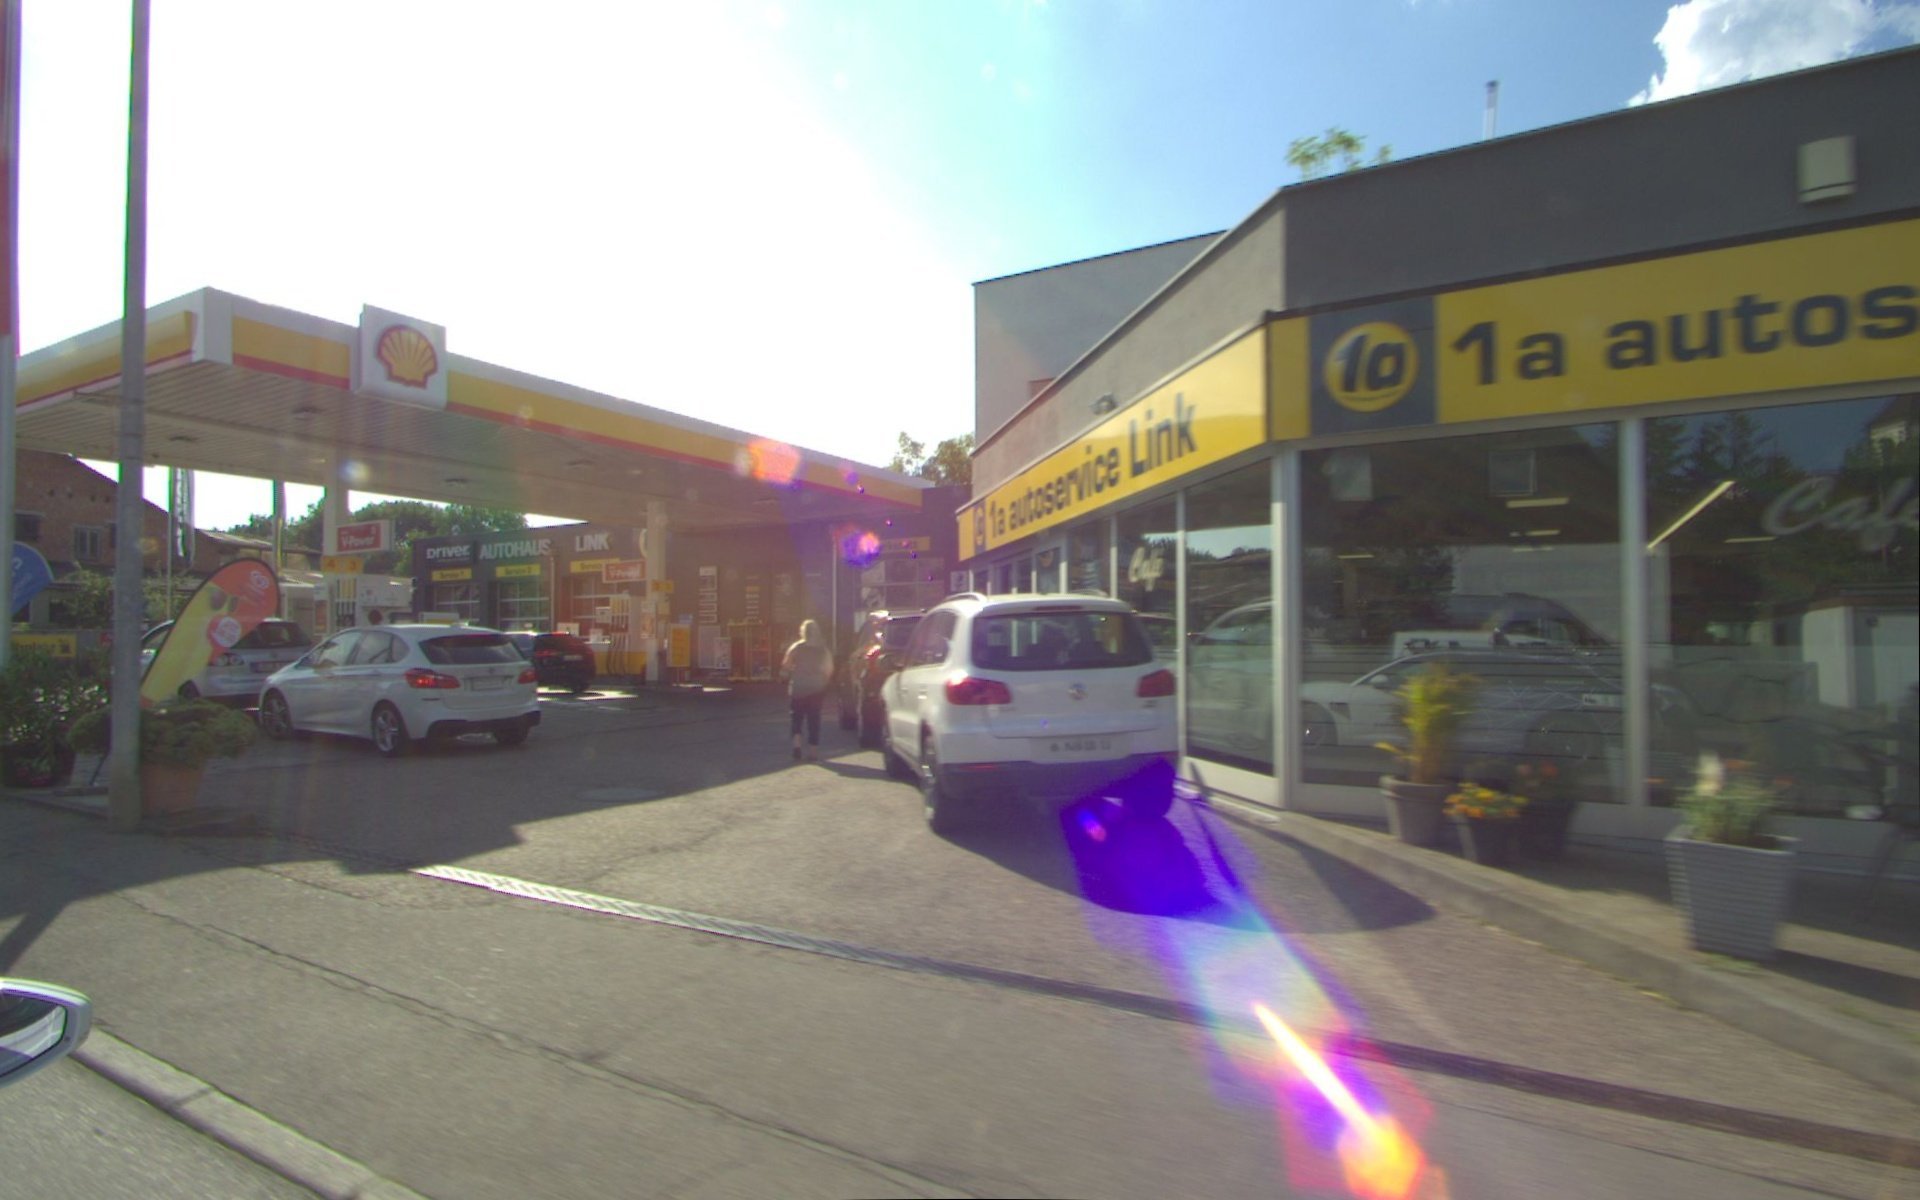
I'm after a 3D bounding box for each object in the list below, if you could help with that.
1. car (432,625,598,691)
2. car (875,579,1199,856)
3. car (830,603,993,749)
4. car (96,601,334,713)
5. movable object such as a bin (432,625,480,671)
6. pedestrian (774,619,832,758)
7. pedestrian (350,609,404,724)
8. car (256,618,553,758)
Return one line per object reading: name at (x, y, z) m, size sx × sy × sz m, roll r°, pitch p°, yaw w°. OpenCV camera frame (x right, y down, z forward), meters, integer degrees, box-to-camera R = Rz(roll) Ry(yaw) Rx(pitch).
car at (-10.364, 1.362, 23.257) m, size 3.941 × 1.417 × 1.535 m, roll -3°, pitch -3°, yaw 31°
car at (0.345, 0.762, 8.356) m, size 1.646 × 1.696 × 4.075 m, roll -1°, pitch -1°, yaw -11°
car at (-0.789, 0.939, 13.421) m, size 1.646 × 1.654 × 3.686 m, roll -1°, pitch -2°, yaw -11°
car at (-11.910, 0.859, 15.955) m, size 3.940 × 1.597 × 1.670 m, roll -1°, pitch -2°, yaw 31°
movable object such as a bin at (-17.586, 1.669, 34.961) m, size 1.191 × 1.549 × 0.987 m, roll -1°, pitch -2°, yaw 30°
pedestrian at (-1.742, 0.968, 11.078) m, size 0.614 × 1.498 × 0.430 m, roll 0°, pitch -1°, yaw -12°
pedestrian at (-8.818, 1.001, 15.155) m, size 0.526 × 1.691 × 0.500 m, roll -1°, pitch -2°, yaw 31°
car at (-7.355, 1.057, 13.177) m, size 3.940 × 1.597 × 1.670 m, roll -1°, pitch -2°, yaw 31°
